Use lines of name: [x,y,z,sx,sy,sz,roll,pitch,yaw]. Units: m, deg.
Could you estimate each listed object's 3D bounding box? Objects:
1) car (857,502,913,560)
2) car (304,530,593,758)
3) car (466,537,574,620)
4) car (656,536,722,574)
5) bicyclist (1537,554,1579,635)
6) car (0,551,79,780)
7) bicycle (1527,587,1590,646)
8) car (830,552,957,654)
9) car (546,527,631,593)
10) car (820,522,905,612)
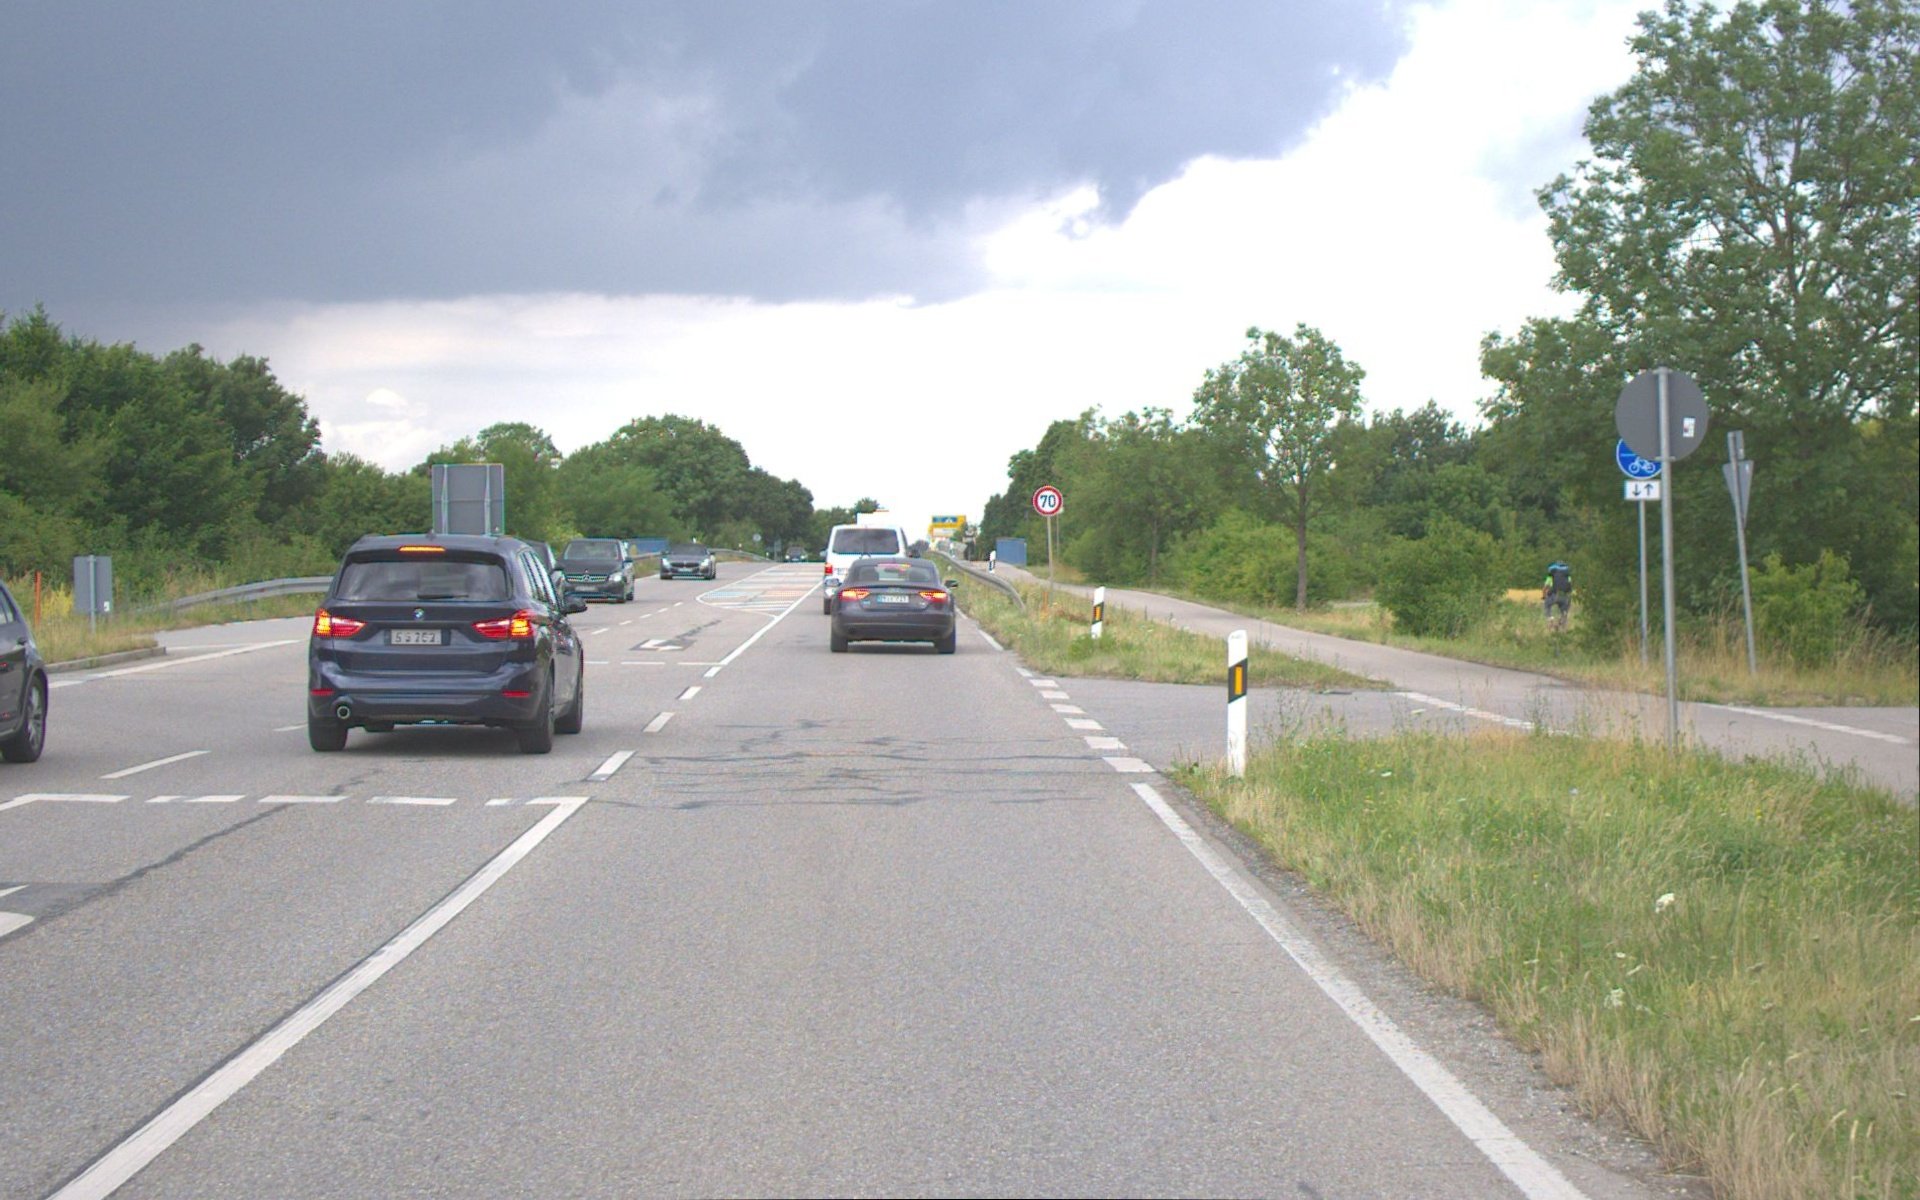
car: [-3.344,-3.118,154.696,2.447,2.495,5.042,1,1,-1]
car: [-3.911,0.287,26.913,1.702,1.606,4.482,1,1,-2]
car: [-8.108,-0.406,63.572,1.661,1.478,3.169,0,1,-2]
car: [-9.916,-1.653,125.843,2.164,1.280,4.238,2,1,-2]
bicyclist: [11.811,-0.109,67.916,0.656,1.575,0.744,1,0,-2]
car: [-7.184,0.424,22.637,1.679,1.516,4.396,1,1,-1]
bicycle: [11.804,0.314,67.933,0.656,1.134,2.831,1,0,-2]
car: [-0.998,0.023,50.960,1.785,1.419,4.000,1,1,-1]
car: [-9.138,-1.009,84.757,1.742,1.525,4.199,1,1,-2]
car: [-2.136,-0.728,75.506,1.785,1.883,4.000,1,1,-1]
